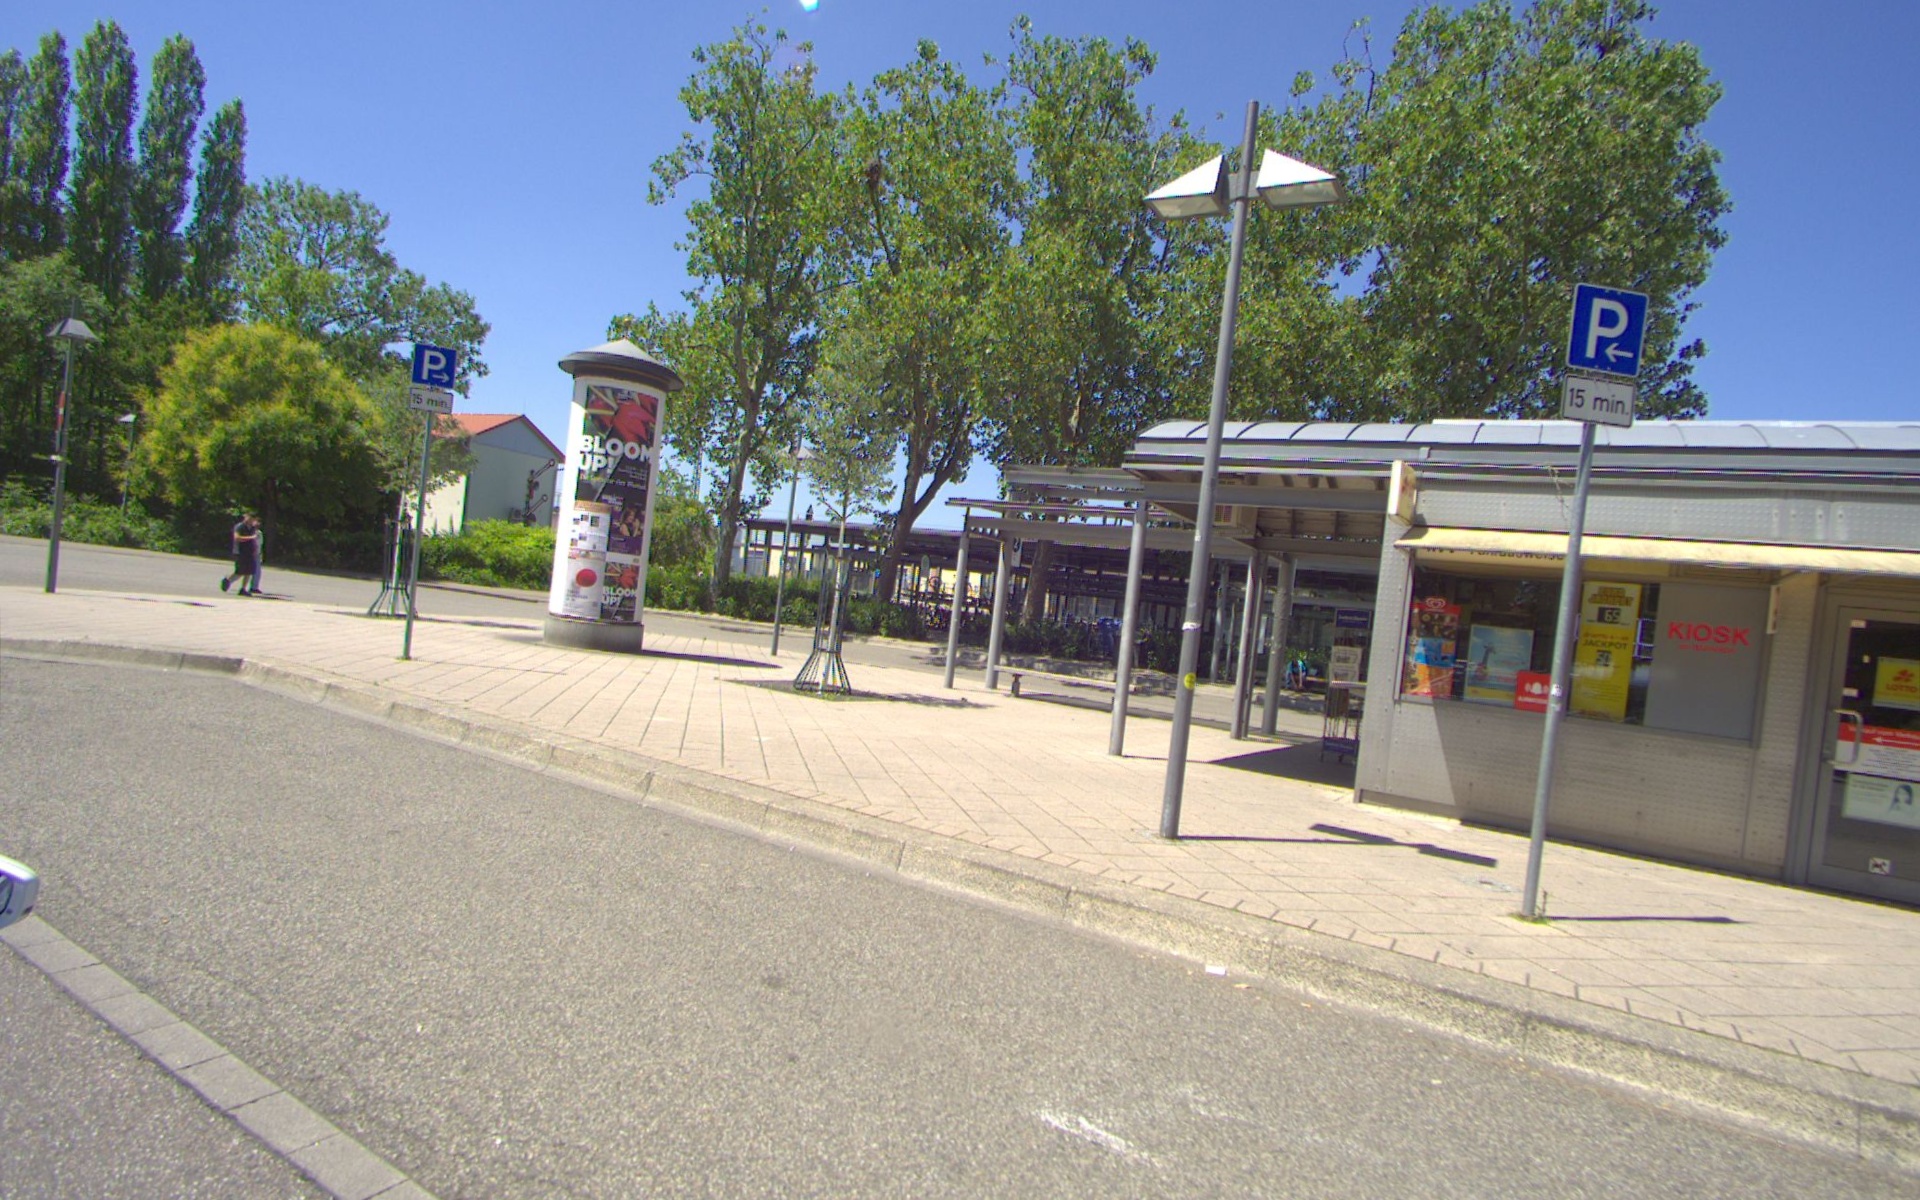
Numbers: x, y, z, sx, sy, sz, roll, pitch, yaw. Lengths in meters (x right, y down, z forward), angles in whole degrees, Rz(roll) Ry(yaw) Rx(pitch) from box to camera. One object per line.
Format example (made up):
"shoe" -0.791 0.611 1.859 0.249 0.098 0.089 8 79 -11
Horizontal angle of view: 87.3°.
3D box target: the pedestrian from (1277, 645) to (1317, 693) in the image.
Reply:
"pedestrian" 9.971 2.042 29.751 0.853 1.291 0.830 7 1 28

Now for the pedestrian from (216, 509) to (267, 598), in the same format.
"pedestrian" -15.376 -1.003 21.524 0.690 1.807 0.905 6 1 -40

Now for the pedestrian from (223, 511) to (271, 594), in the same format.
"pedestrian" -15.986 -1.065 22.555 0.670 1.757 0.905 6 1 -40
